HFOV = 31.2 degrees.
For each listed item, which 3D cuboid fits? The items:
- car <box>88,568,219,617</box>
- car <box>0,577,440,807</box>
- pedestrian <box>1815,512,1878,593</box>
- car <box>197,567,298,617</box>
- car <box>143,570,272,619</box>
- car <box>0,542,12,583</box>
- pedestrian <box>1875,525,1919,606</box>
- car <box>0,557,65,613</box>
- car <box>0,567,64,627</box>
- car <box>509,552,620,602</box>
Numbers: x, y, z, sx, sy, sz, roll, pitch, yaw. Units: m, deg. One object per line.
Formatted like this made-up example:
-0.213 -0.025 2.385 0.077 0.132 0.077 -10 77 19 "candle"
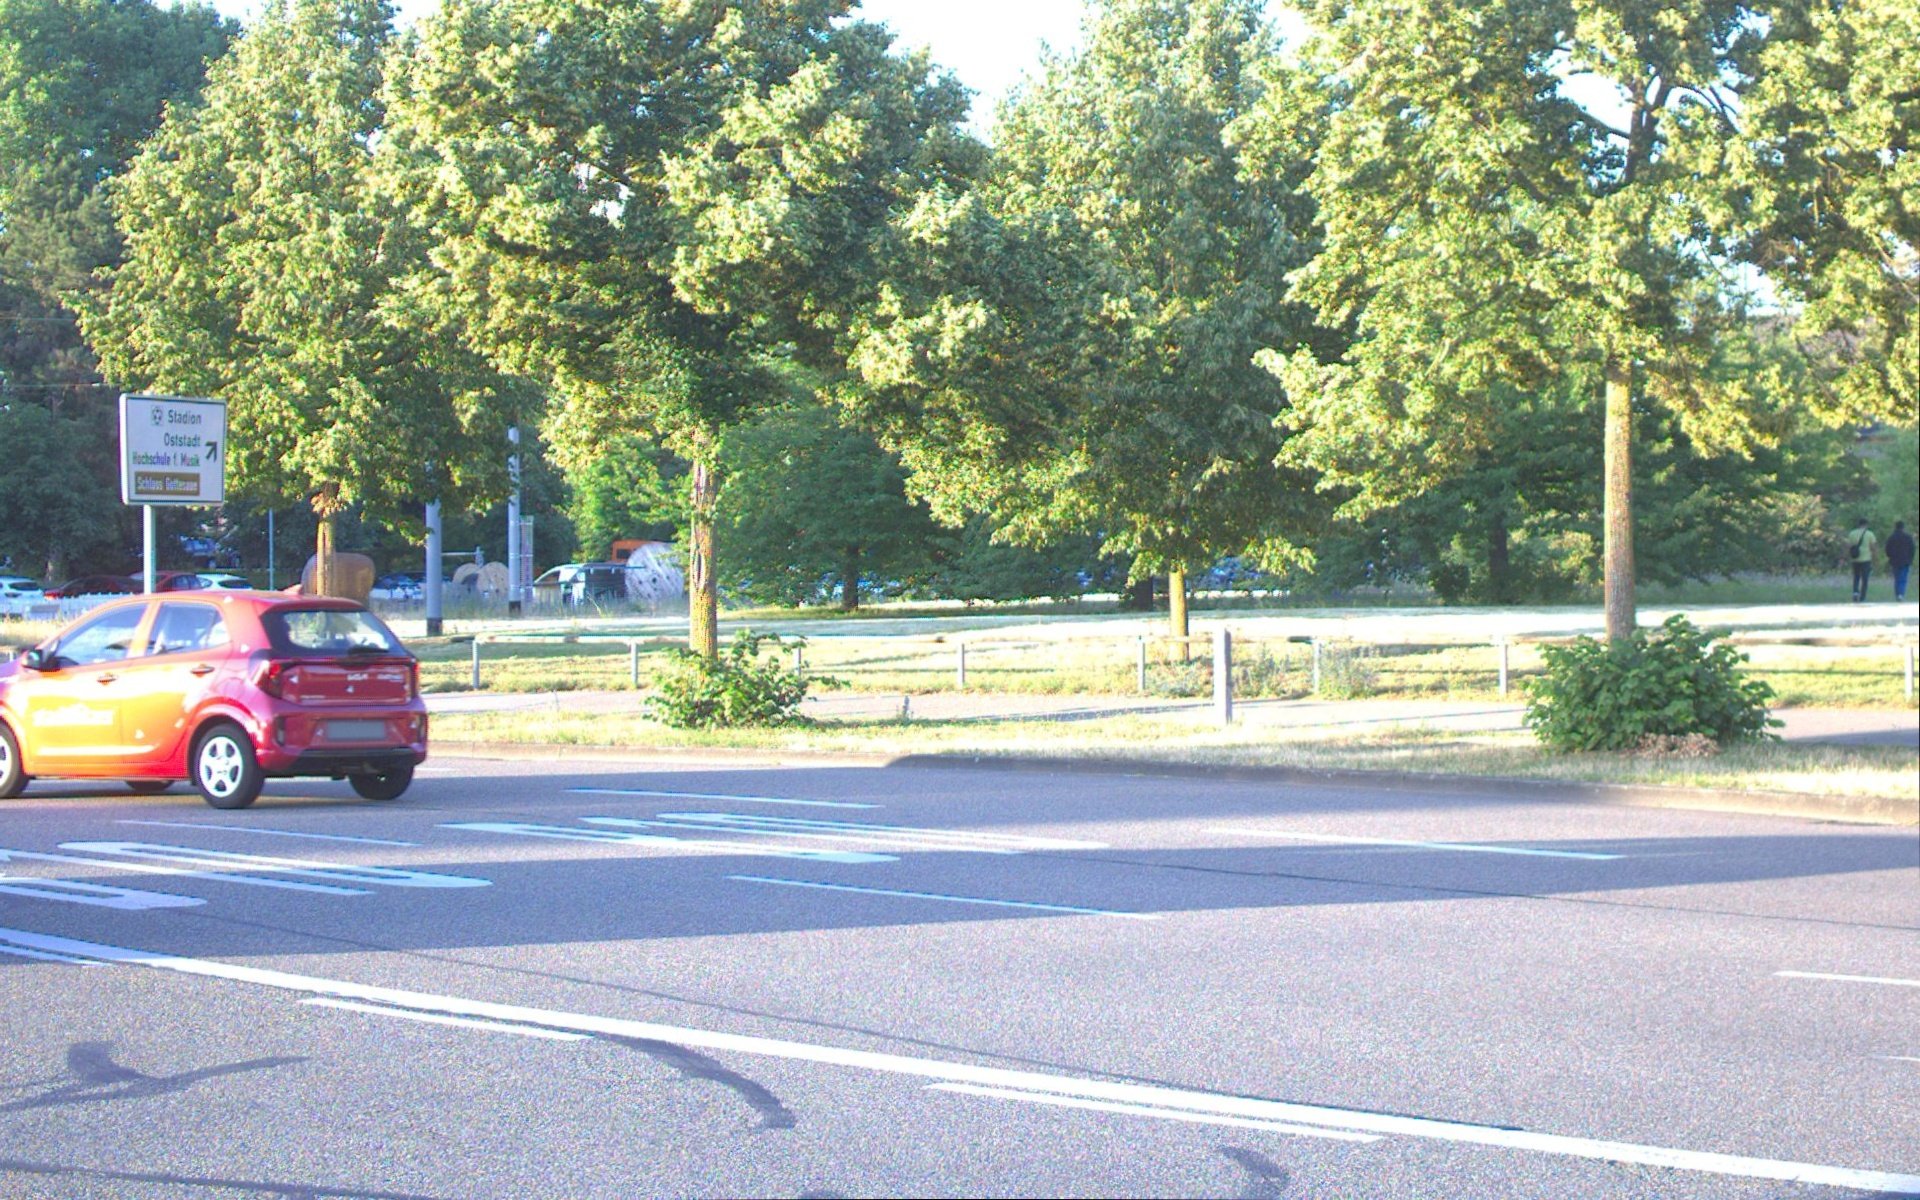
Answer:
-26.774 -0.261 114.099 3.994 1.598 1.996 0 1 33 "car"
-5.539 0.595 24.326 3.486 1.494 1.639 0 1 35 "car"
17.811 -0.964 69.088 1.069 1.612 0.910 0 1 2 "pedestrian"
-26.818 -0.320 129.308 1.994 1.746 4.597 -1 2 -37 "car"
-25.370 -0.205 115.829 3.994 1.598 1.996 0 1 33 "car"
-42.411 -1.577 145.369 3.988 1.700 2.000 0 1 7 "car"
19.016 -0.695 69.002 1.069 1.612 0.910 0 1 2 "pedestrian"
-35.232 -0.551 125.812 4.582 2.007 2.001 -1 1 -9 "car"
-33.146 -0.093 117.679 4.582 2.007 2.001 -1 1 -9 "car"
-13.228 -0.775 114.888 1.734 1.612 3.998 -1 1 -41 "car"
